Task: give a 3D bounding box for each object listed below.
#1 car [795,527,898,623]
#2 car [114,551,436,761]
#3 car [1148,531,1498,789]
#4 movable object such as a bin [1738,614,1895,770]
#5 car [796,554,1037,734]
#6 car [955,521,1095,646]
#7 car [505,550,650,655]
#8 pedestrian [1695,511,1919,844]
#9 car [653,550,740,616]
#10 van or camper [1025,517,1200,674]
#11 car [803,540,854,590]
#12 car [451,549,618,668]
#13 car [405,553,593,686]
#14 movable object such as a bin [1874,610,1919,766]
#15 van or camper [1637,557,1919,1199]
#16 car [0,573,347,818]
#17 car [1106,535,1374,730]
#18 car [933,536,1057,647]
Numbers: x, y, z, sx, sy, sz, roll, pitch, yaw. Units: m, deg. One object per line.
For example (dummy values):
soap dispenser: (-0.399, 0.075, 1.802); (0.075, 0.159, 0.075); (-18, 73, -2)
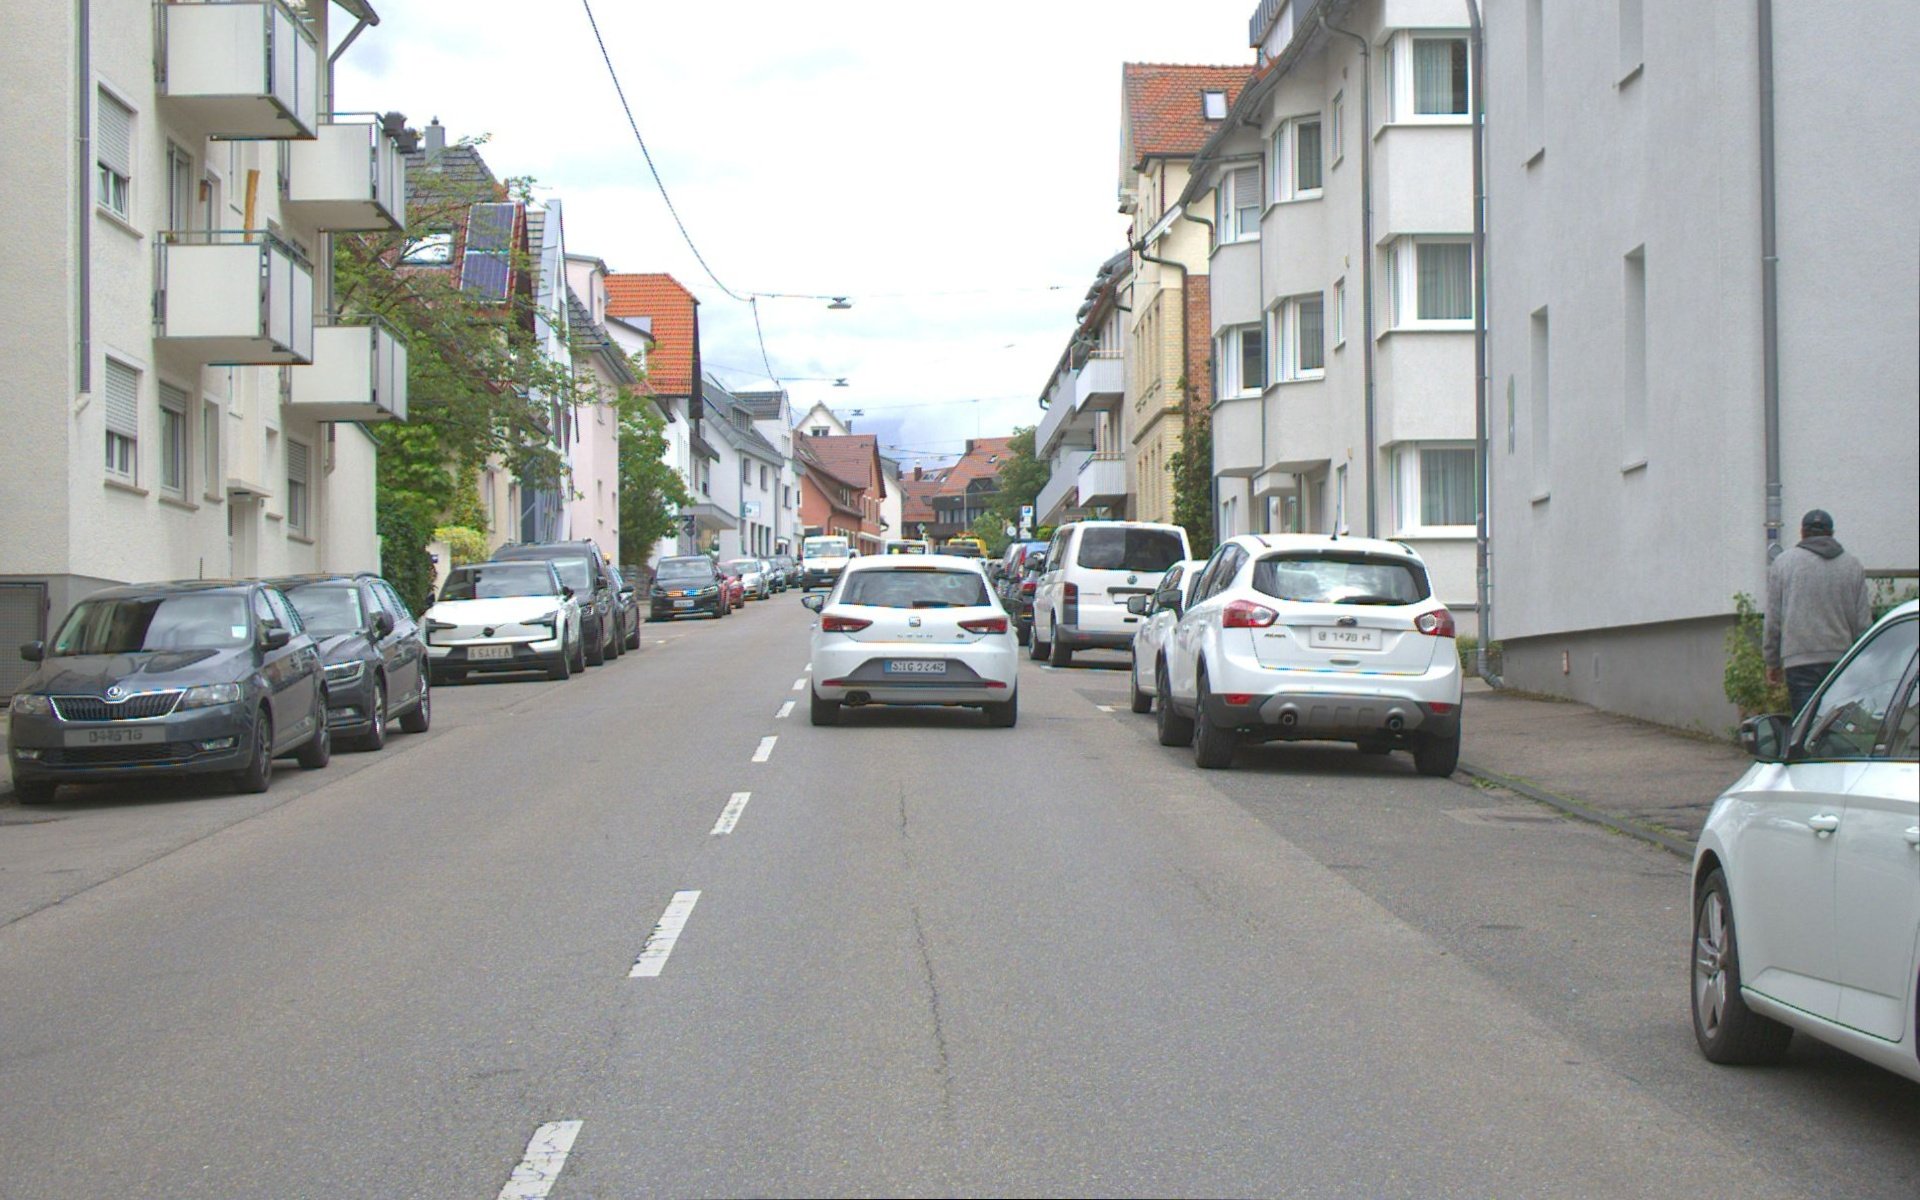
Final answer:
car: (-2.501, -0.550, 75.413); (2.152, 2.007, 4.000); (1, 0, -2)
car: (-5.687, 0.411, 29.019); (1.993, 1.645, 4.000); (0, 1, -1)
car: (2.586, 0.377, 25.444); (1.940, 1.687, 4.001); (2, 1, -2)
movable object such as a bin: (6.105, 0.643, 24.571); (0.888, 1.058, 1.216); (0, 1, 4)
car: (-0.419, 0.331, 29.882); (1.940, 1.434, 4.000); (1, 1, -2)
car: (1.055, -0.297, 58.115); (1.993, 2.007, 4.001); (-1, 1, -4)
car: (-6.218, 0.009, 56.273); (1.993, 1.645, 4.000); (0, 1, -1)
pedestrian: (4.781, 0.399, 19.114); (0.976, 1.733, 1.533); (-3, 1, 0)
car: (-6.737, -0.447, 88.239); (1.993, 1.645, 4.179); (0, 1, -1)
van or camper: (2.041, -0.089, 47.423); (1.940, 2.048, 4.563); (1, 1, -3)
car: (-5.409, -1.445, 141.876); (1.993, 2.007, 4.000); (-1, 1, -1)
car: (-6.109, 0.082, 49.717); (1.993, 1.645, 4.000); (0, 1, -1)
car: (-5.962, 0.216, 44.867); (1.993, 1.645, 4.000); (0, 1, -1)
movable object such as a bin: (7.077, 0.613, 24.454); (0.888, 1.058, 1.216); (0, 1, 4)
van or camper: (3.040, 0.687, 9.201); (1.602, 1.538, 4.000); (2, 1, 0)
car: (-5.509, 0.601, 24.235); (1.642, 1.468, 4.179); (-3, 1, -1)
car: (2.532, 0.258, 32.066); (1.940, 1.687, 4.001); (1, 1, -3)
car: (0.624, -0.175, 64.822); (1.993, 2.007, 4.001); (-1, 1, -4)
